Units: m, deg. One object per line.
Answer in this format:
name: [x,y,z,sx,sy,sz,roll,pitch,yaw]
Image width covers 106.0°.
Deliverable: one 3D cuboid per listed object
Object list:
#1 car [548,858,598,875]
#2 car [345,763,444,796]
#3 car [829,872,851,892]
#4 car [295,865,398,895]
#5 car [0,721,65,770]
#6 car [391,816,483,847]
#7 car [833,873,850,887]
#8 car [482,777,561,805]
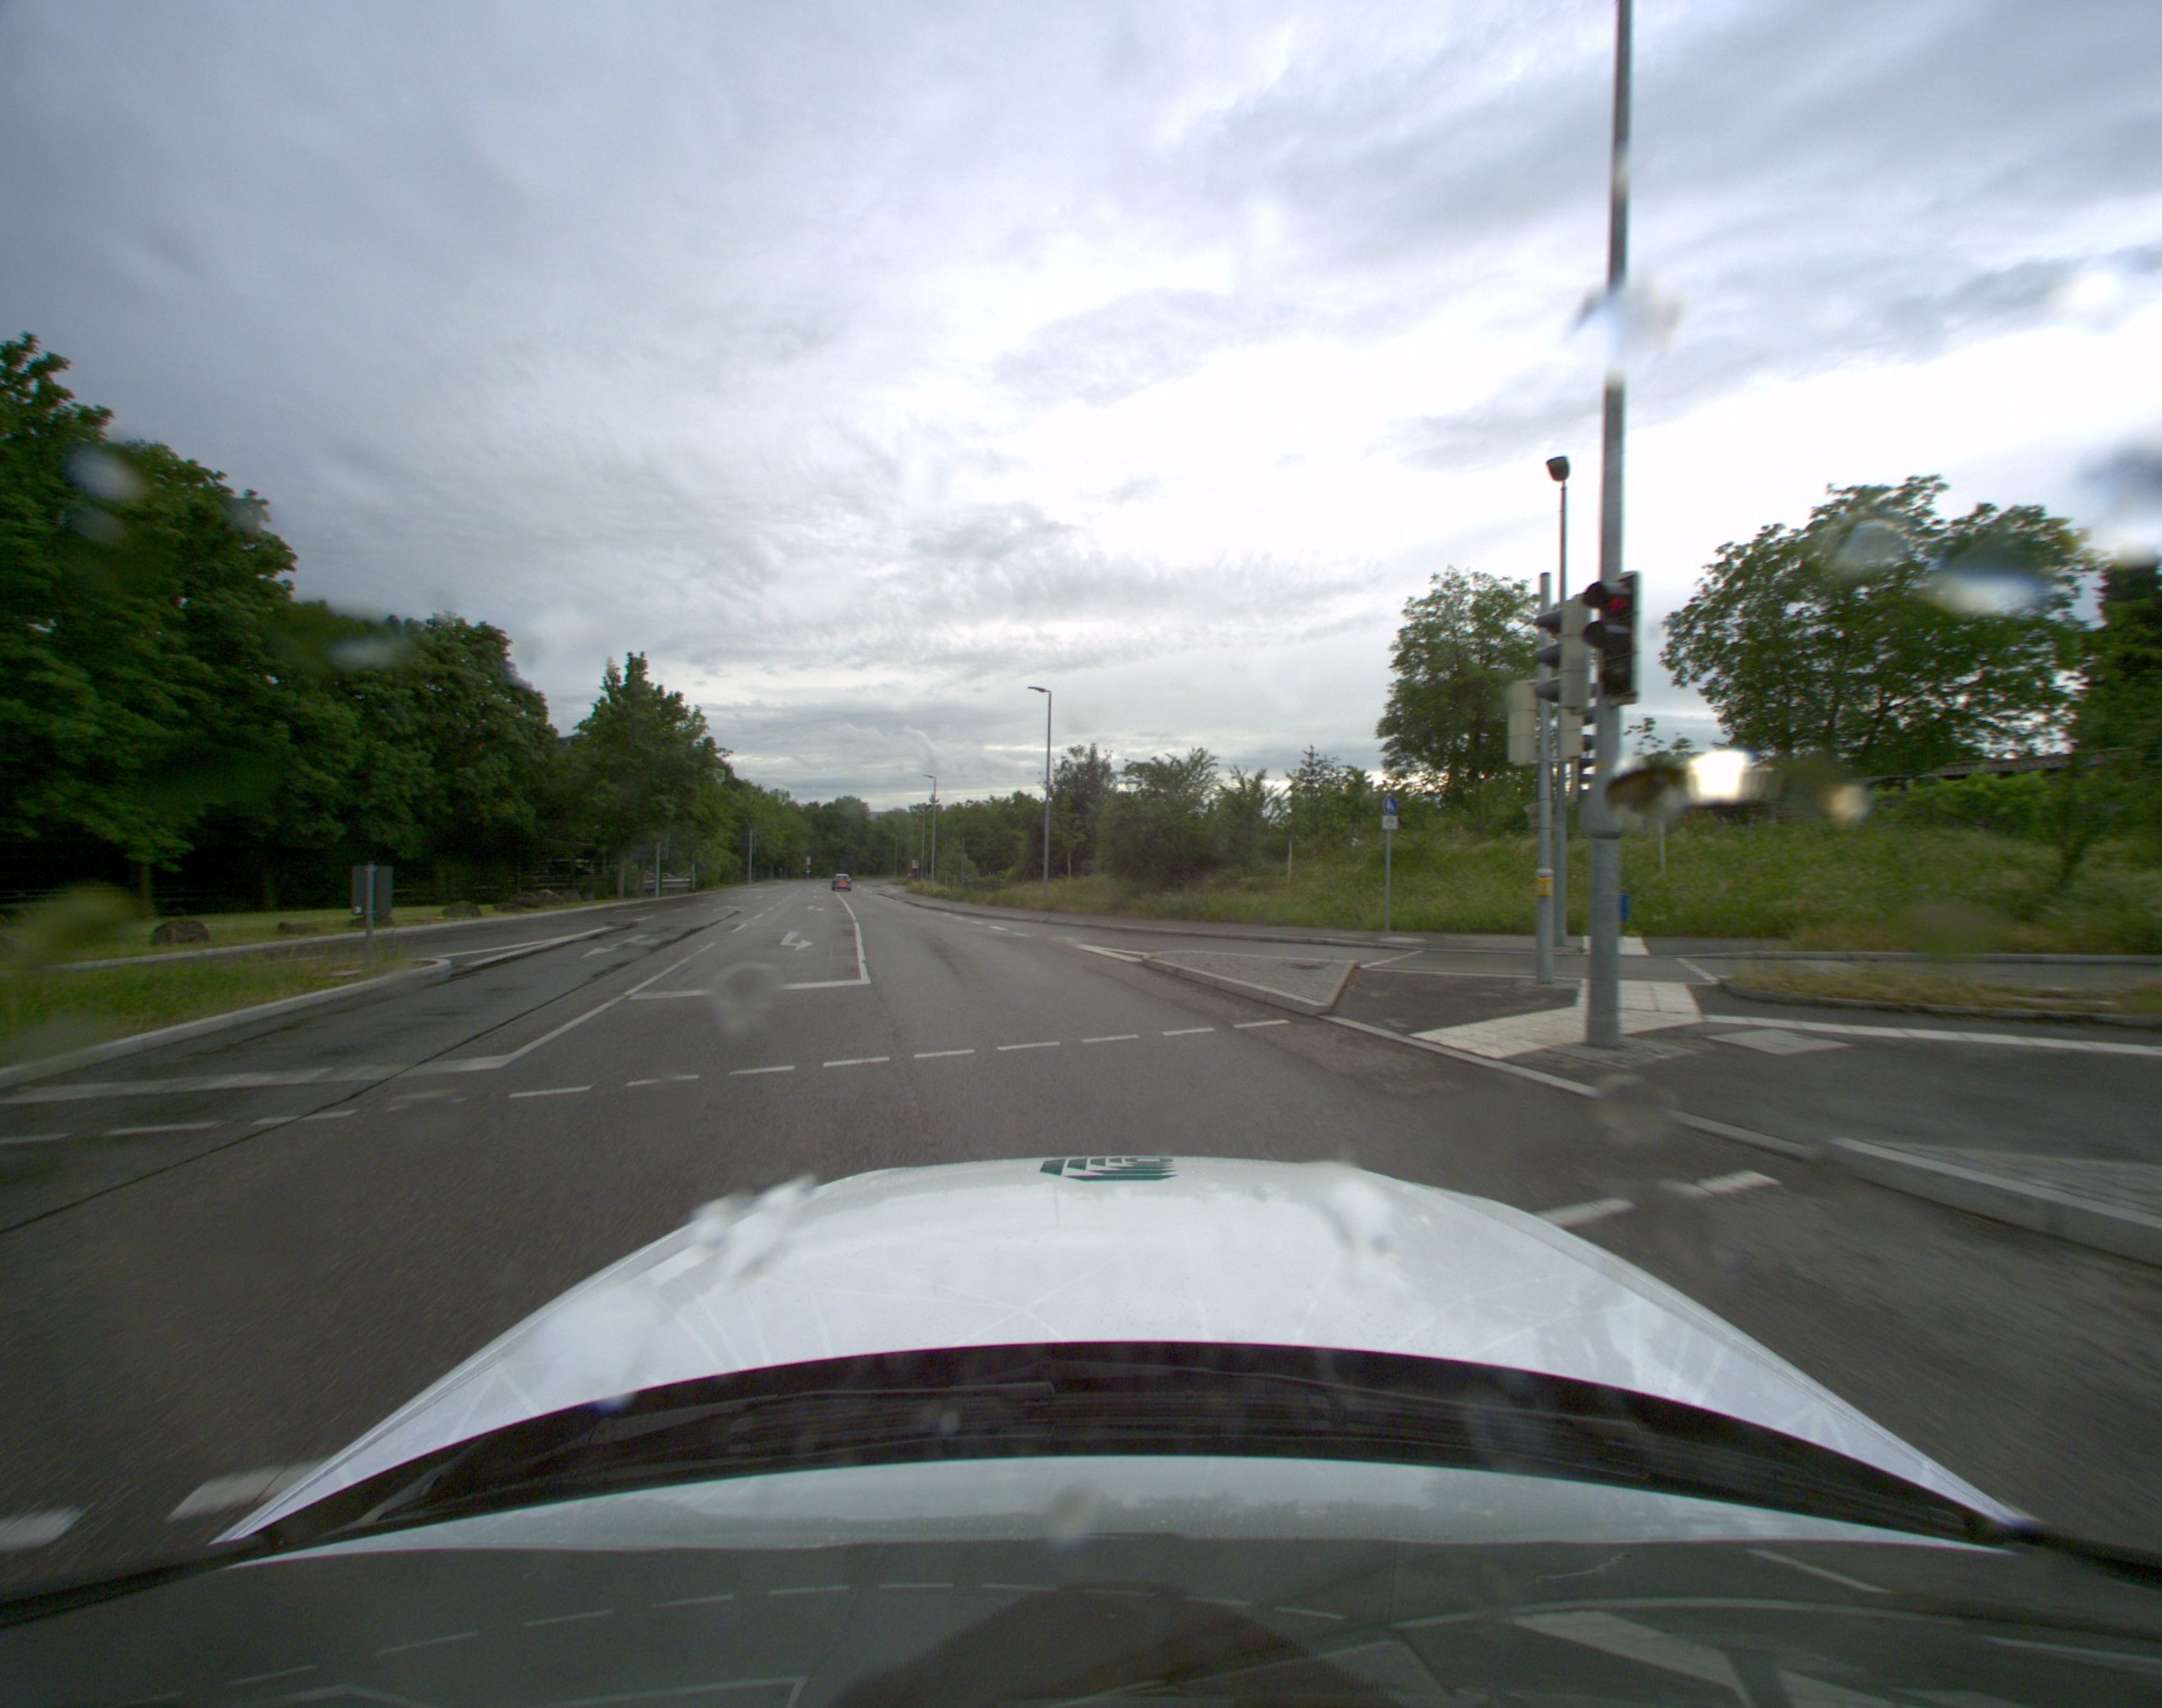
car: [-45.543,1.093,73.049,3.447,1.519,1.588,0,-1,4]
car: [-37.939,-4.108,45.046,3.962,1.519,2.006,3,0,10]
car: [-23.200,2.703,78.590,1.998,1.689,3.978,0,1,-16]
car: [-38.854,1.349,43.149,3.962,1.519,2.006,-1,-1,10]
car: [-39.471,-3.948,29.233,3.962,1.519,2.006,3,0,10]
car: [-37.465,-1.306,47.446,3.962,1.519,2.006,3,0,10]
car: [-28.644,3.083,97.323,1.931,1.486,3.779,0,1,-16]
car: [-36.990,-4.172,53.863,3.962,1.519,2.006,3,0,10]
